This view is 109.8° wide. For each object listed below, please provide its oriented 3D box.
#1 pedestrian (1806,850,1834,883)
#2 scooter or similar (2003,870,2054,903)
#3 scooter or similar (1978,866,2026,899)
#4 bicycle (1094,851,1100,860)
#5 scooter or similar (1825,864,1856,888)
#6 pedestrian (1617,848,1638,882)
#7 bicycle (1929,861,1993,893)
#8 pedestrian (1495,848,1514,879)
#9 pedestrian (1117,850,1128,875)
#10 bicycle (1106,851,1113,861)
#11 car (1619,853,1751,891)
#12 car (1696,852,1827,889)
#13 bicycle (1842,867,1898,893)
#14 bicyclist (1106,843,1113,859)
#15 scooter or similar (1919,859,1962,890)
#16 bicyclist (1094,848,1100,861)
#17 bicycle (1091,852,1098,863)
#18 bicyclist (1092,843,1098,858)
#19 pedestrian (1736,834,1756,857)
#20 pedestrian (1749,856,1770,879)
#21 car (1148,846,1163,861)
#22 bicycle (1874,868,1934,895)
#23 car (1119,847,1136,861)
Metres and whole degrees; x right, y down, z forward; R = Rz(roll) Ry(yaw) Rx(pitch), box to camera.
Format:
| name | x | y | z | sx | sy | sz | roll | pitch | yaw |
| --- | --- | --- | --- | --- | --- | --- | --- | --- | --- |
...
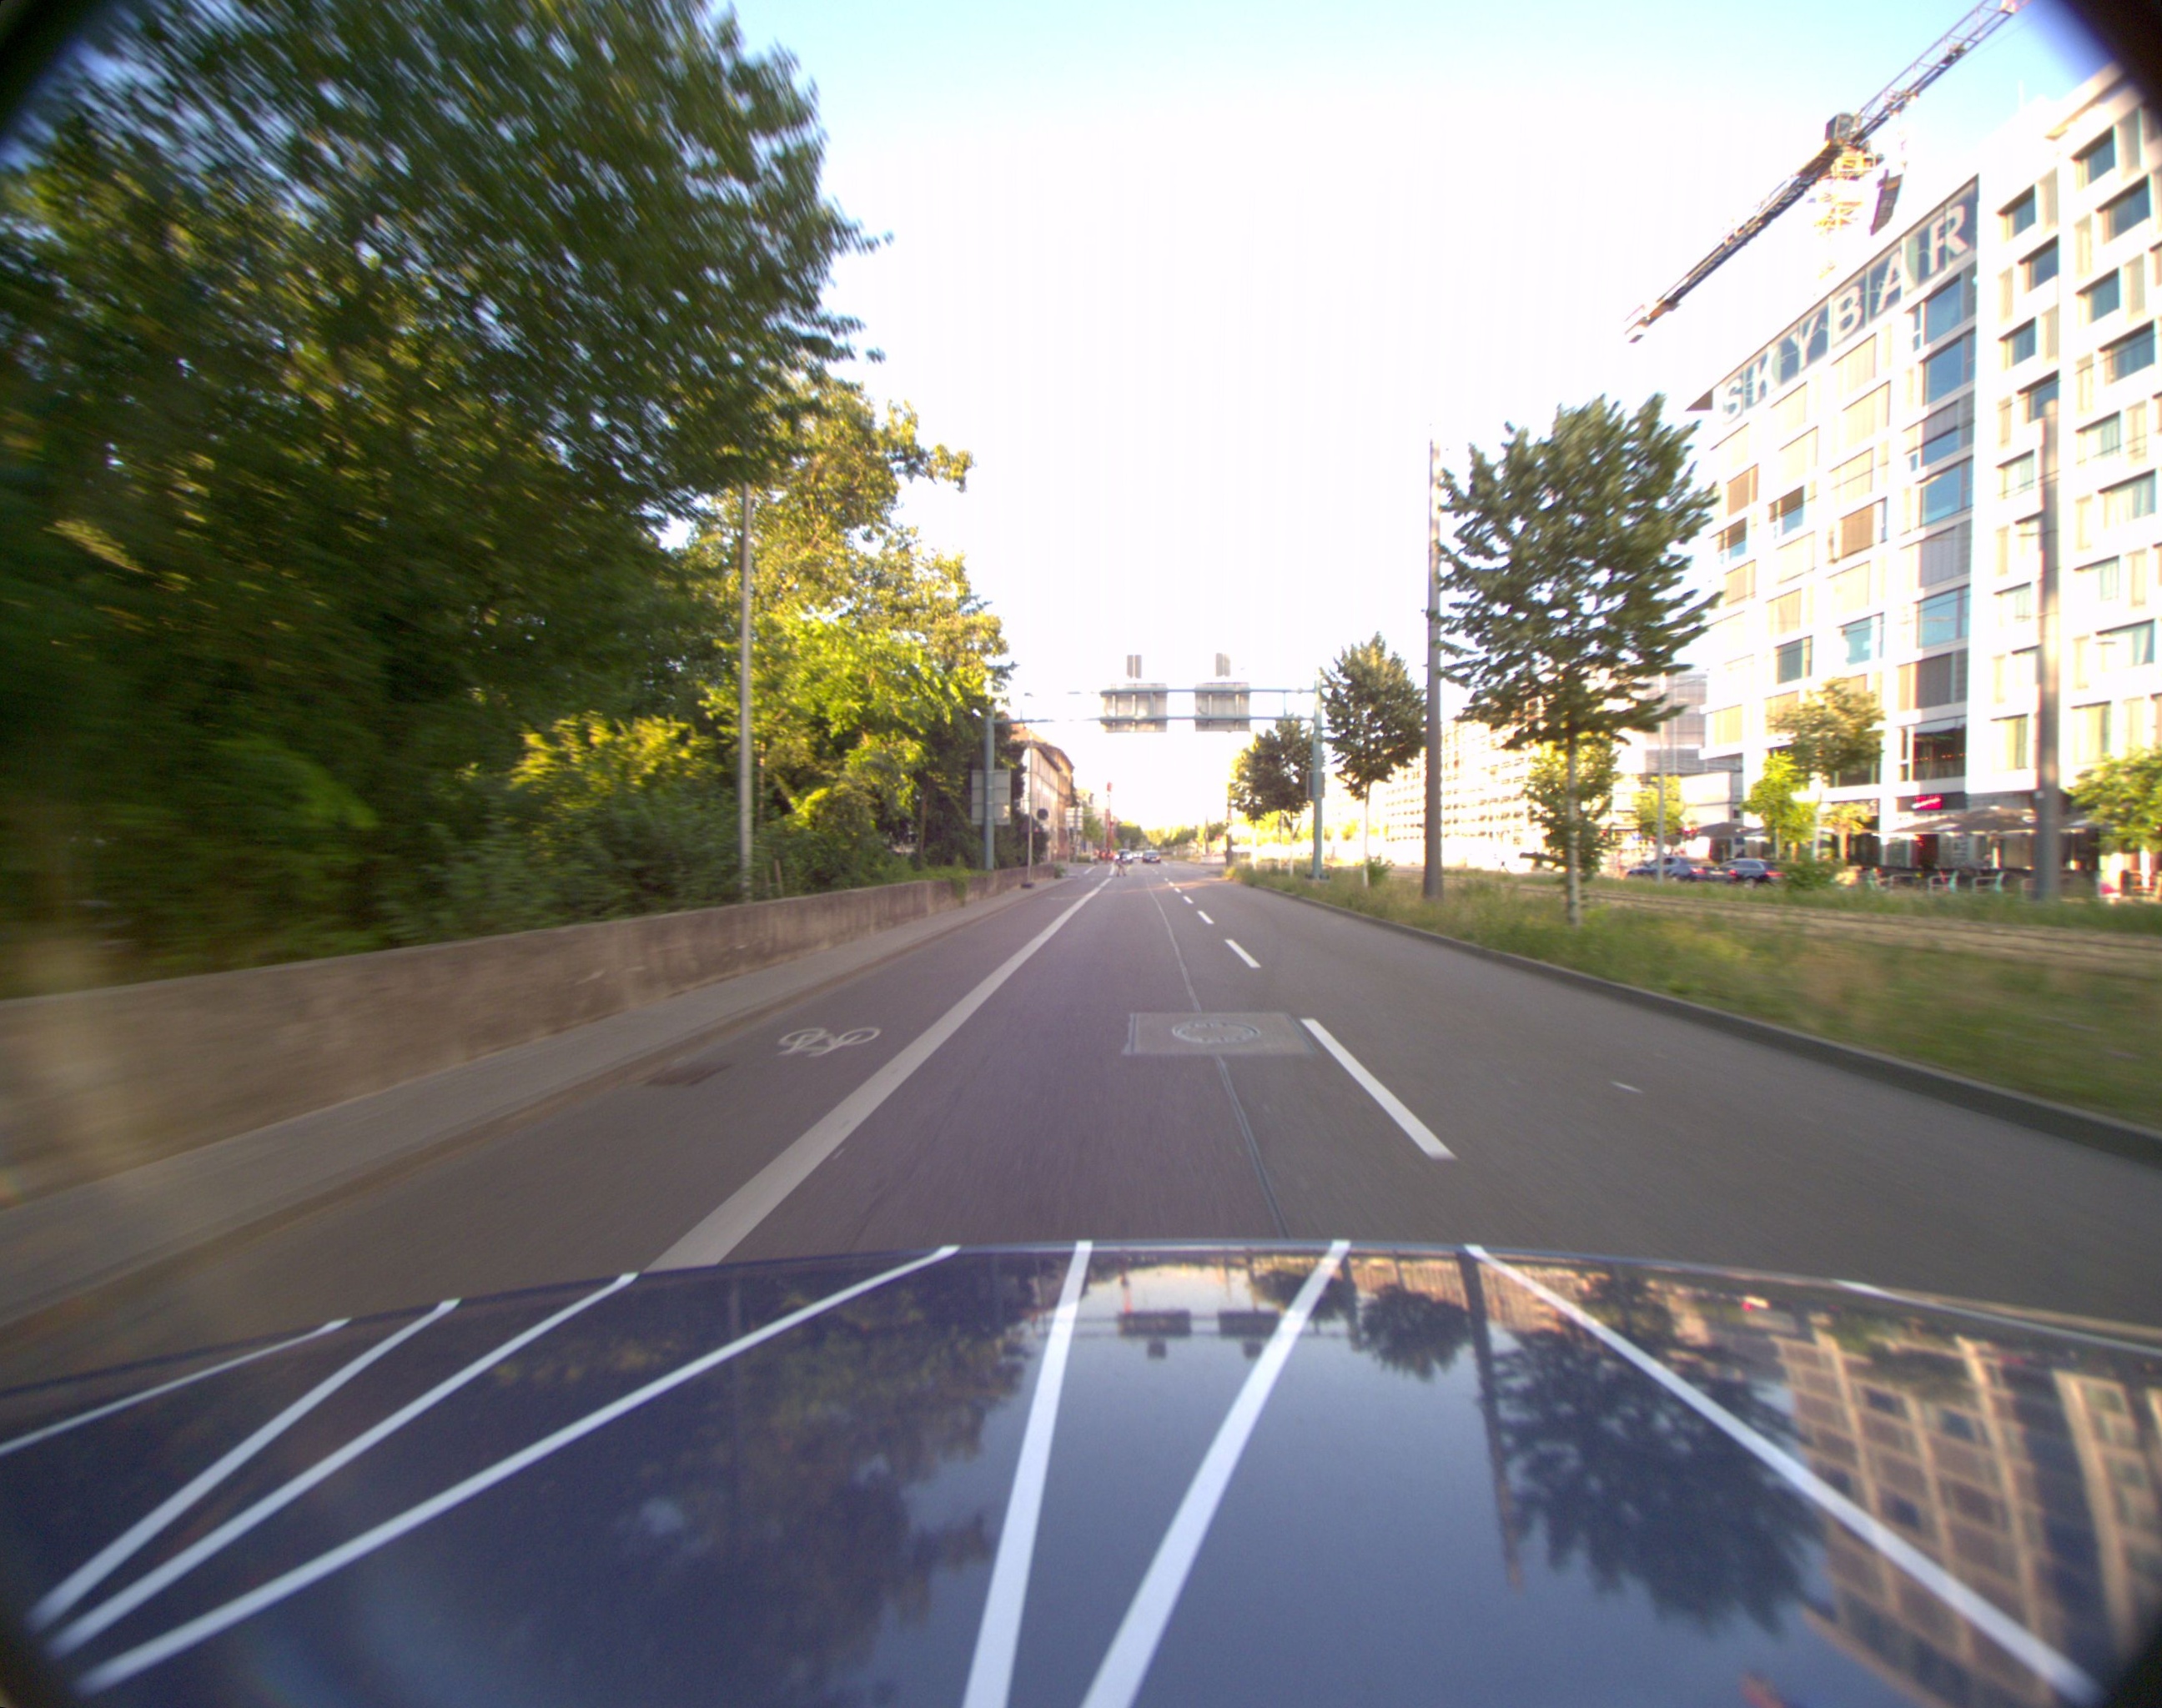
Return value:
| name | x | y | z | sx | sy | sz | roll | pitch | yaw |
| --- | --- | --- | --- | --- | --- | --- | --- | --- | --- |
| pedestrian | 36.918 | 0.631 | 37.943 | 0.681 | 1.594 | 0.708 | -2 | 1 | -10 |
| scooter or similar | 33.117 | 1.124 | 26.549 | 1.184 | 1.051 | 0.338 | -4 | -1 | 5 |
| scooter or similar | 33.560 | 1.039 | 27.689 | 1.184 | 1.157 | 0.338 | 1 | 1 | 5 |
| bicycle | 1.871 | 0.178 | 87.841 | 0.517 | 1.045 | 2.045 | 1 | 1 | 7 |
| scooter or similar | 33.902 | 0.982 | 33.910 | 1.009 | 1.028 | 0.291 | 0 | 3 | 5 |
| pedestrian | 31.041 | 0.624 | 43.149 | 0.680 | 1.913 | 0.709 | -2 | 1 | 6 |
| bicycle | 33.666 | 0.879 | 29.069 | 1.913 | 1.192 | 0.443 | -1 | 1 | 1 |
| pedestrian | 26.003 | 0.574 | 46.654 | 0.708 | 1.825 | 0.763 | -2 | 1 | 3 |
| pedestrian | 2.581 | 0.539 | 47.505 | 0.579 | 1.495 | 0.619 | -2 | 1 | 12 |
| bicycle | 3.194 | 0.196 | 85.314 | 0.721 | 1.045 | 2.044 | -2 | 2 | 4 |
| car | 25.687 | 0.711 | 32.581 | 2.019 | 1.432 | 4.802 | 2 | 1 | 4 |
| car | 28.635 | 0.641 | 32.178 | 1.889 | 1.431 | 4.224 | 0 | 1 | 3 |
| bicycle | 33.663 | 1.091 | 32.419 | 1.913 | 1.053 | 0.443 | -1 | 1 | 1 |
| bicyclist | 3.195 | -0.342 | 85.560 | 0.705 | 1.692 | 0.768 | -1 | 2 | 6 |
| scooter or similar | 33.789 | 0.813 | 29.867 | 1.184 | 1.210 | 0.338 | 0 | 1 | 5 |
| bicyclist | 1.840 | 0.043 | 87.602 | 0.512 | 1.540 | 0.692 | 1 | 1 | 7 |
| bicycle | 1.563 | 0.383 | 85.447 | 0.528 | 1.046 | 2.048 | 3 | 2 | 8 |
| bicyclist | 1.605 | -0.397 | 85.508 | 0.509 | 1.692 | 0.768 | 3 | 3 | 8 |
| pedestrian | 42.781 | -0.522 | 48.854 | 0.605 | 1.454 | 0.773 | 0 | 1 | 4 |
| pedestrian | 42.996 | 0.847 | 48.149 | 0.606 | 1.406 | 0.772 | 0 | 1 | -12 |
| car | 8.538 | -0.056 | 87.482 | 1.702 | 1.588 | 4.261 | -1 | 0 | 5 |
| bicycle | 33.642 | 1.105 | 31.062 | 1.913 | 1.053 | 0.443 | -1 | 1 | 1 |
| car | 5.393 | -0.032 | 87.506 | 1.833 | 1.588 | 4.261 | -1 | 0 | 5 |
